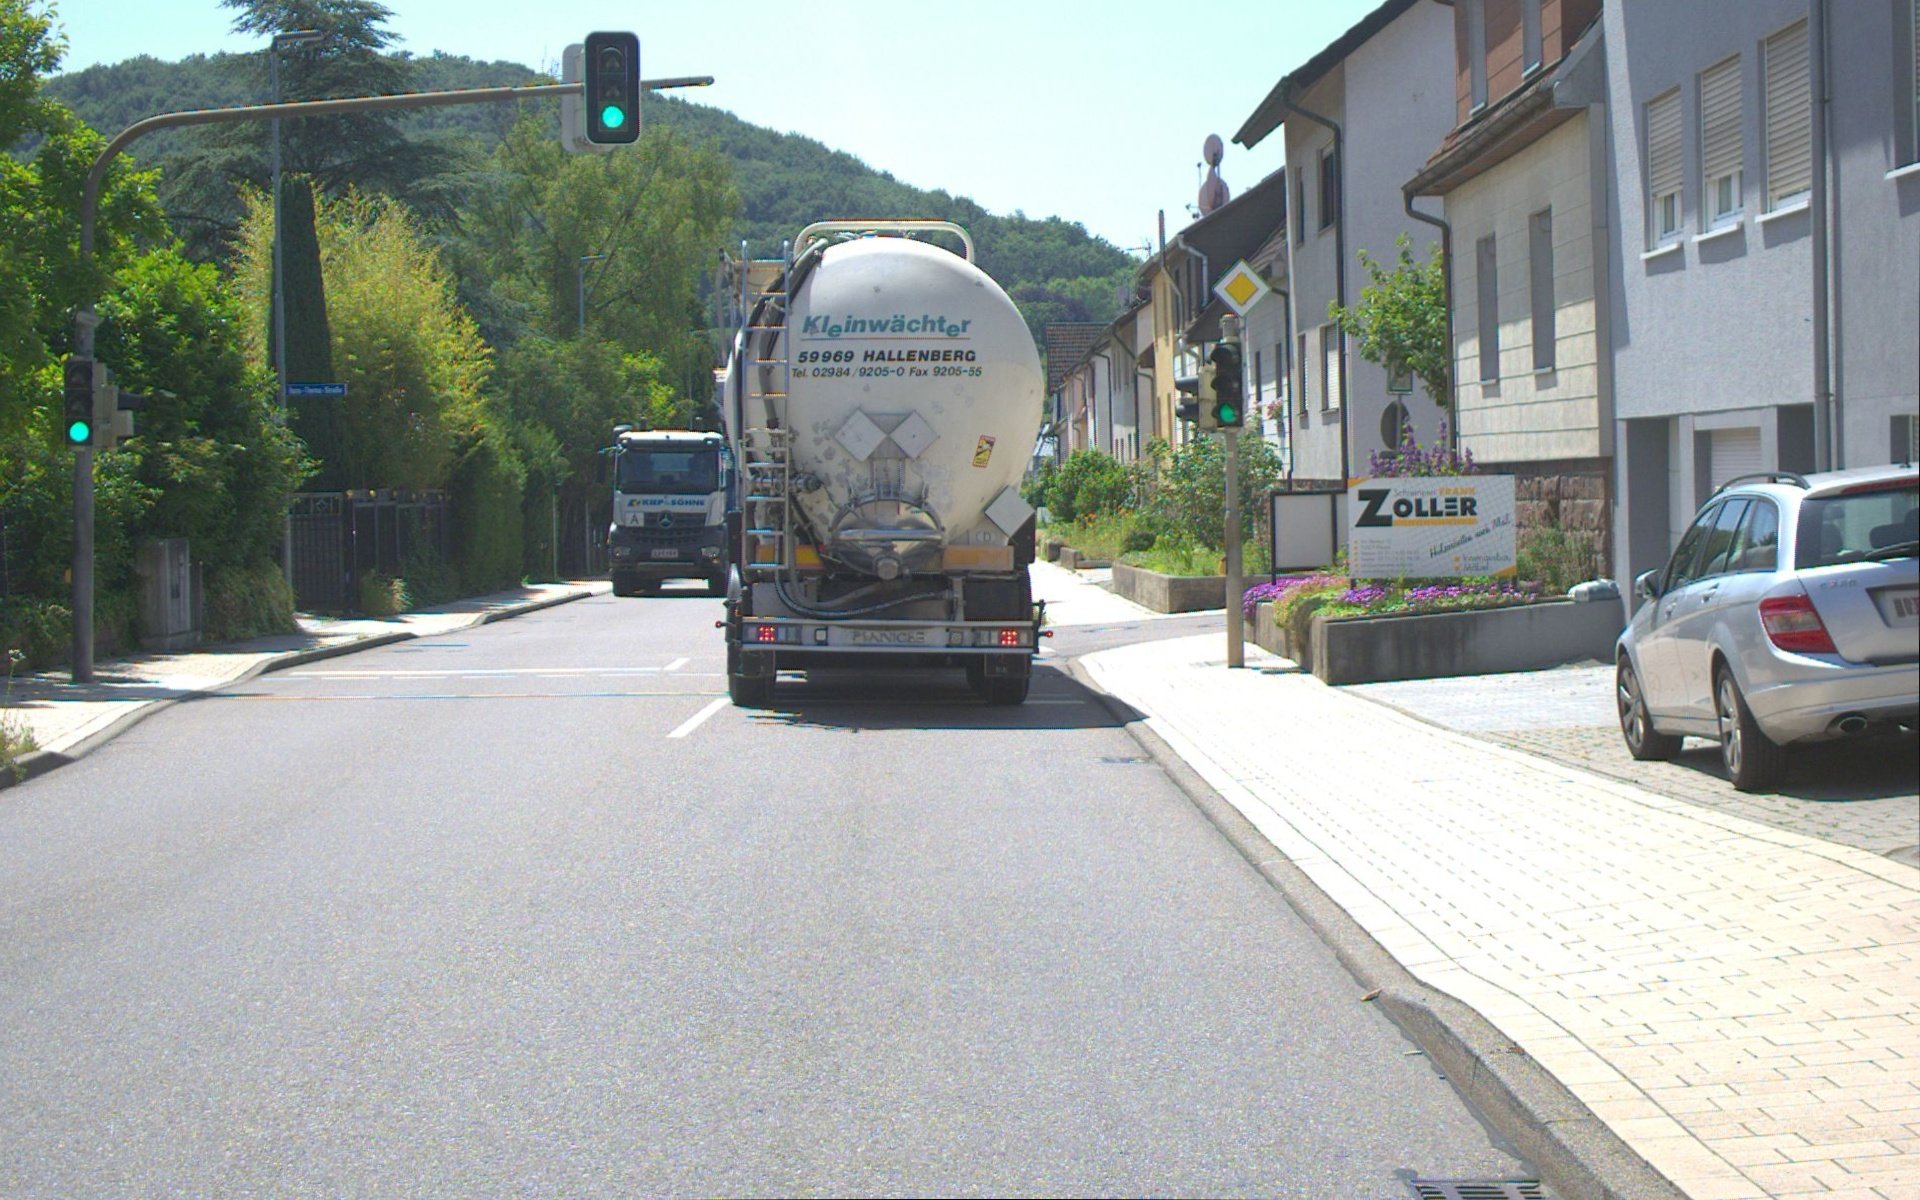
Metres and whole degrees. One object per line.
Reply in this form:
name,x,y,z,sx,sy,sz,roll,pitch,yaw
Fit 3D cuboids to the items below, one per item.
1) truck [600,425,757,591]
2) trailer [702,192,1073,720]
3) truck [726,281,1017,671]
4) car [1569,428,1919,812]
truck,-6.006,-1.982,74.589,2.728,3.360,8.635,1,1,0
trailer,-0.732,-1.196,31.173,2.796,3.987,10.325,0,1,-2
truck,-1.103,-1.316,37.919,2.808,3.923,6.100,1,1,-5
car,4.336,-0.016,16.947,1.791,1.536,4.519,-7,1,2
